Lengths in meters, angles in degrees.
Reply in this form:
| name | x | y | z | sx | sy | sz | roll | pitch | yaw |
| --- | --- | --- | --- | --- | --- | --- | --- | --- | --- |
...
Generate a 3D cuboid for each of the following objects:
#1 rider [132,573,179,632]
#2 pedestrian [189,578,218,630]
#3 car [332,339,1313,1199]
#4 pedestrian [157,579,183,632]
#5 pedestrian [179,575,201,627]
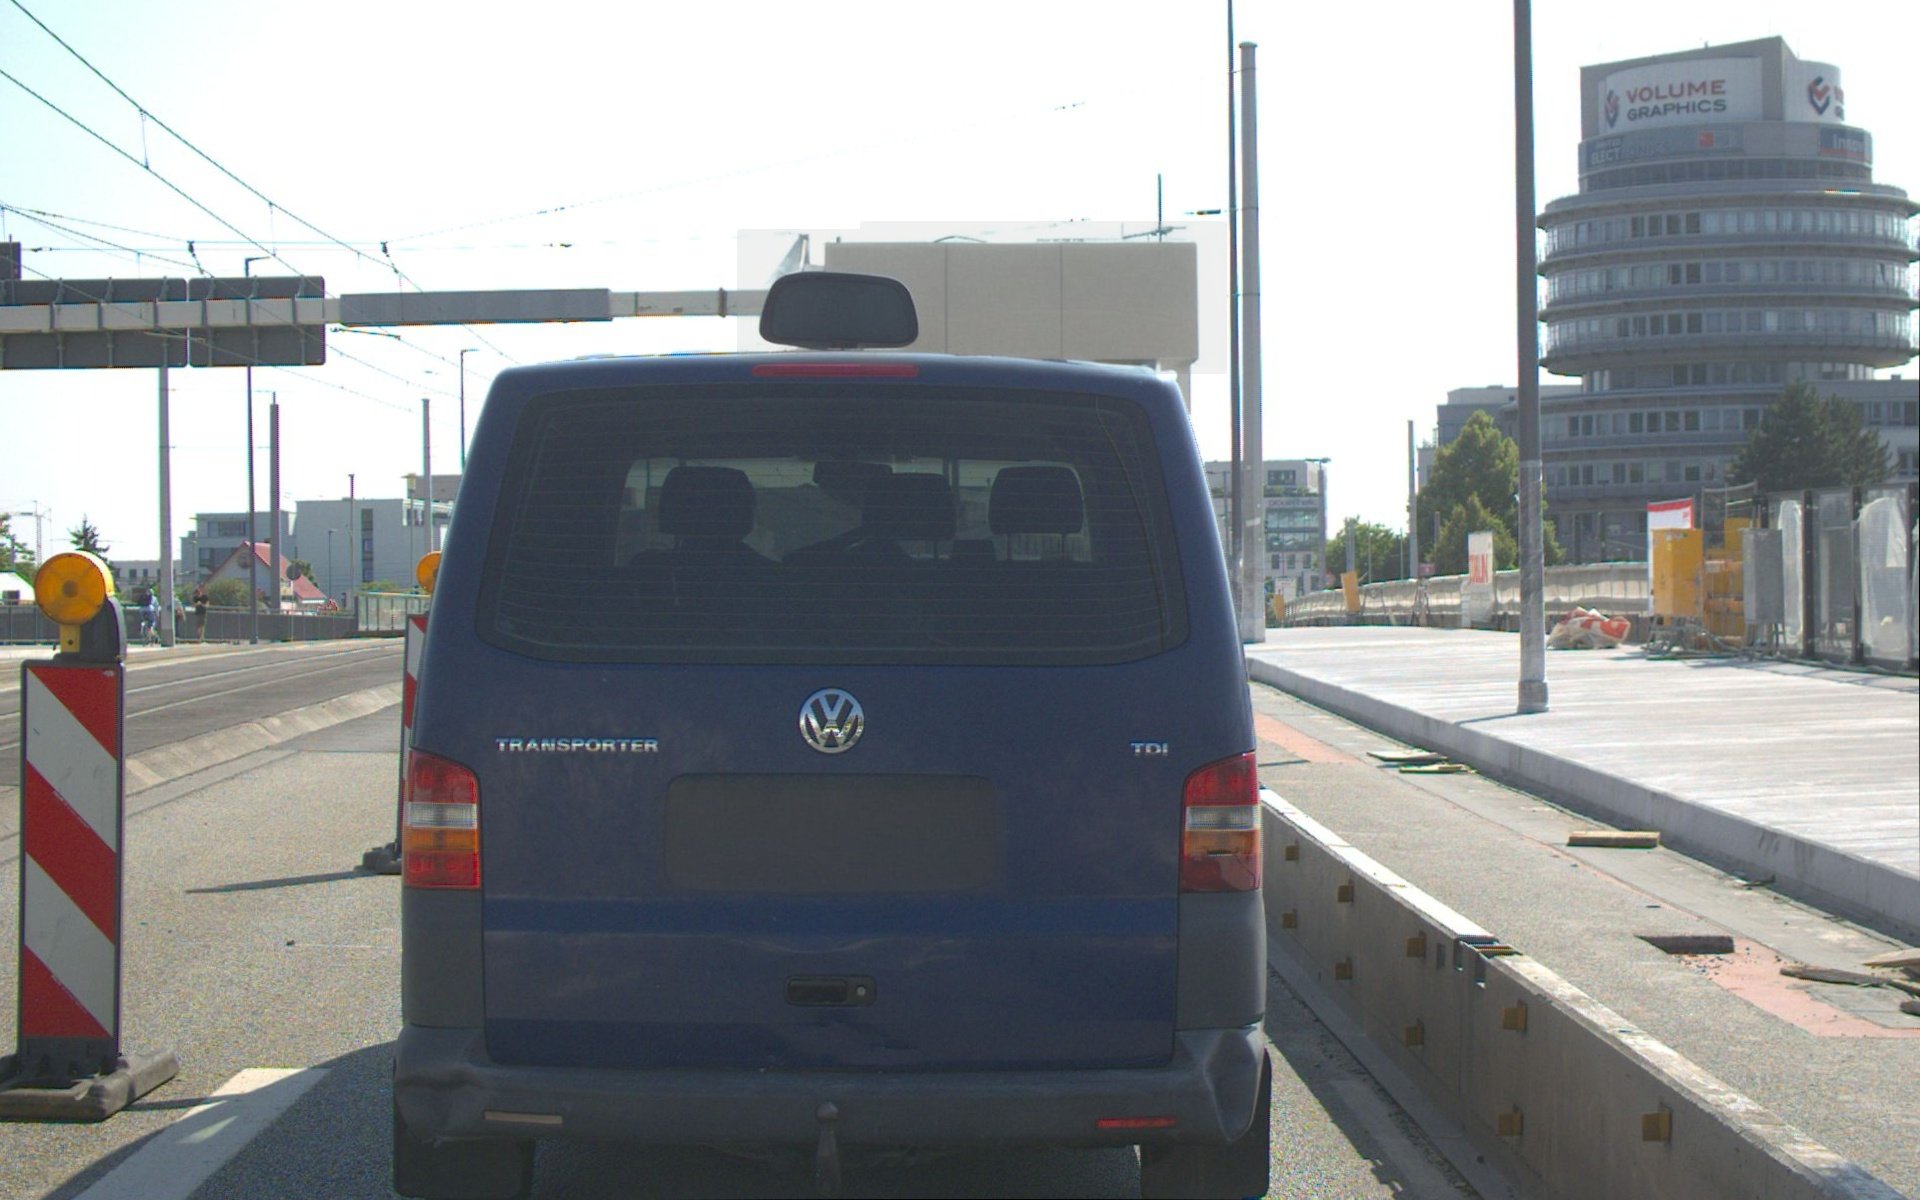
| name | x | y | z | sx | sy | sz | roll | pitch | yaw |
| --- | --- | --- | --- | --- | --- | --- | --- | --- | --- |
| rider | -23.820 | 0.068 | 101.846 | 0.763 | 1.727 | 2.952 | 0 | 0 | -1 |
| pedestrian | -25.137 | 0.130 | 114.268 | 0.753 | 1.681 | 0.731 | -1 | 0 | 3 |
| car | -0.294 | 0.462 | 8.724 | 1.888 | 1.927 | 4.000 | 1 | 0 | -1 |
| pedestrian | -25.569 | 0.181 | 111.297 | 0.597 | 1.681 | 0.817 | -1 | 0 | 3 |
| pedestrian | -24.959 | 0.031 | 111.425 | 0.486 | 1.681 | 0.808 | -1 | 0 | 3 |
